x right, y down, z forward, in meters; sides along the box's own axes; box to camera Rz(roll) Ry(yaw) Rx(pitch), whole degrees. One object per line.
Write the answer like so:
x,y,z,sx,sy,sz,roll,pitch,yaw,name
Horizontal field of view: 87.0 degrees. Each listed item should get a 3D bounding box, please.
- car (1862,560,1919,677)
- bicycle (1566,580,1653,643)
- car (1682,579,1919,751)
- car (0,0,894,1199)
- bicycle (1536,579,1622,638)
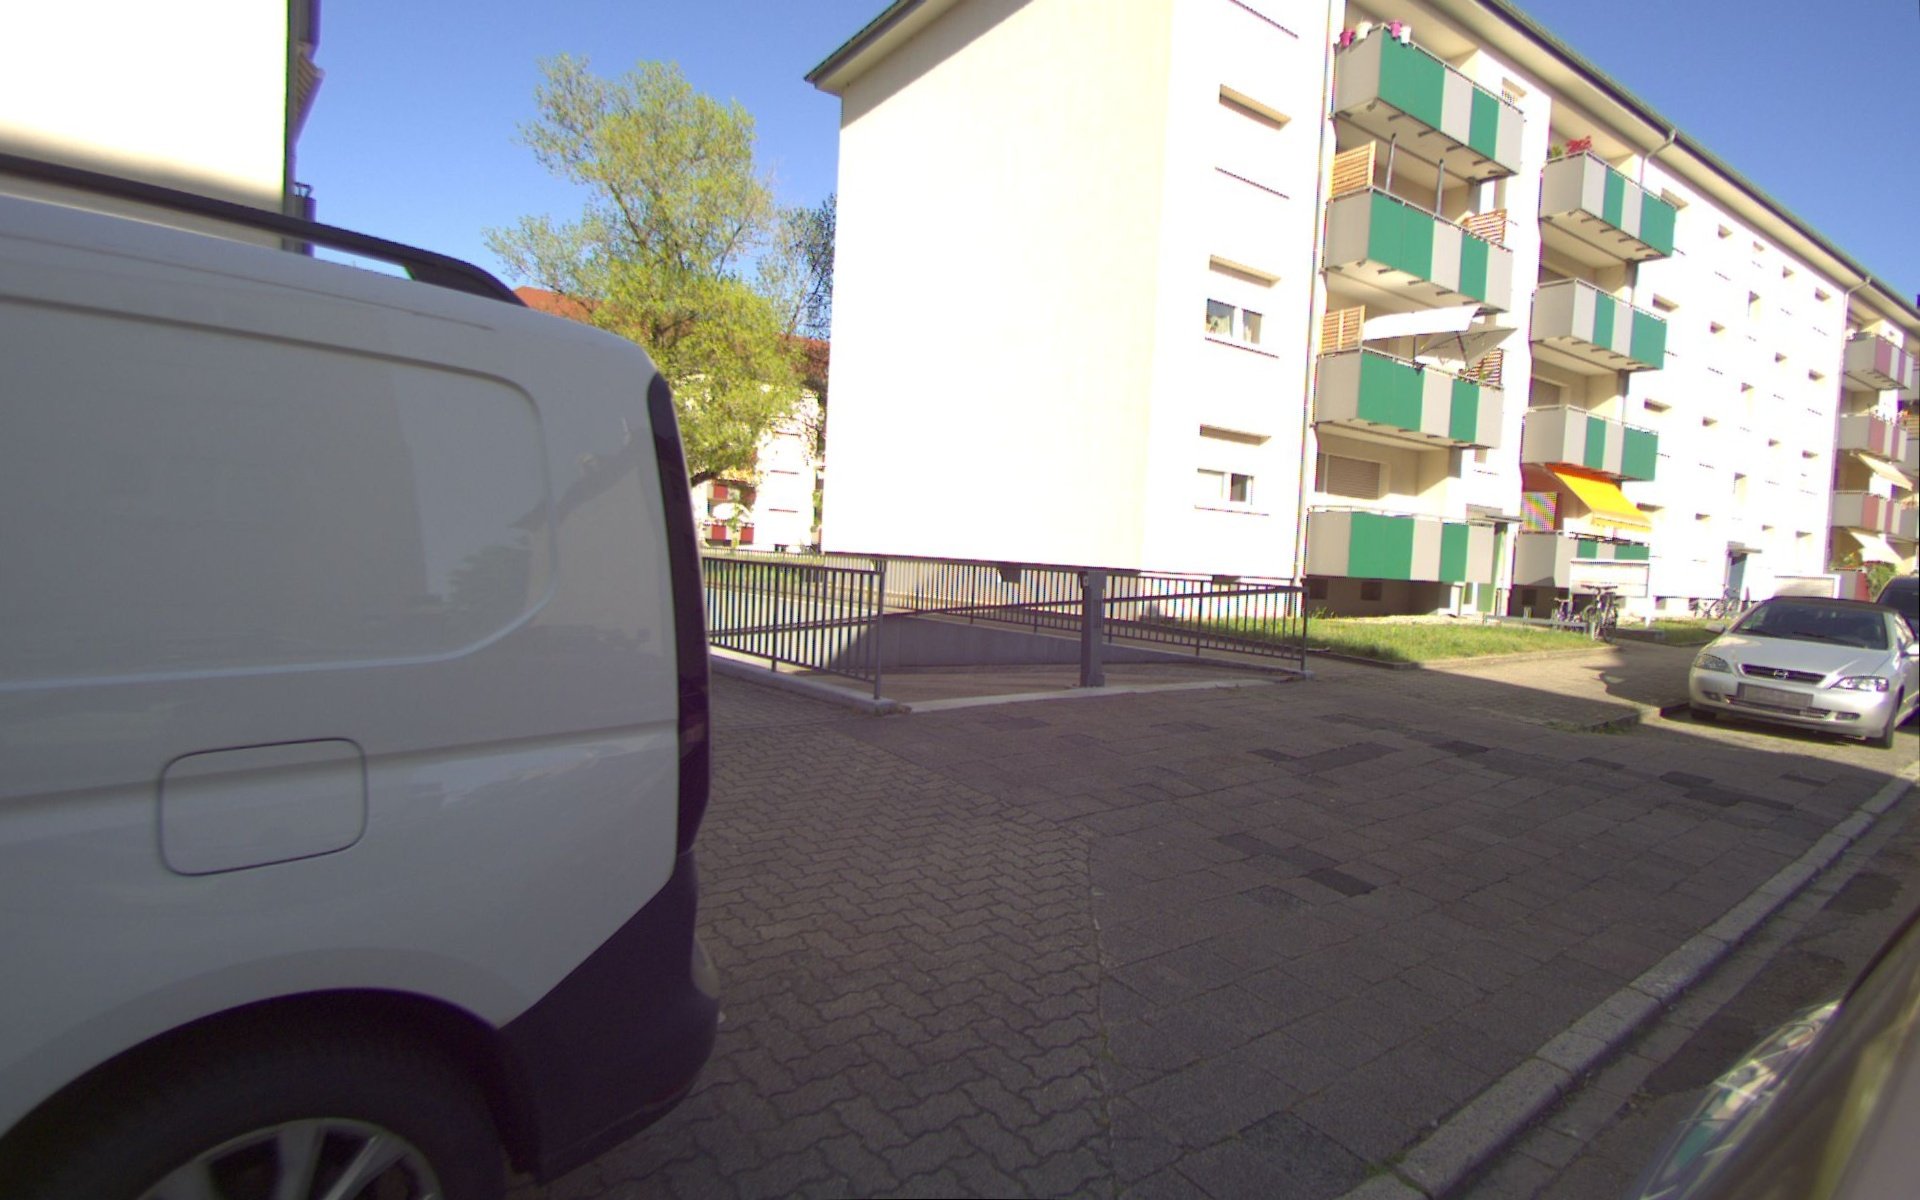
17.694,0.340,17.947,4.833,1.861,1.764,0,5,-40,car
12.036,0.207,18.737,2.034,1.106,0.507,0,2,-32,bicycle
9.689,0.575,11.227,4.240,1.423,1.746,0,6,-42,car
-2.468,0.177,1.195,4.457,1.867,1.804,0,6,-39,car
11.780,0.152,19.233,2.034,1.057,0.507,0,2,-32,bicycle
